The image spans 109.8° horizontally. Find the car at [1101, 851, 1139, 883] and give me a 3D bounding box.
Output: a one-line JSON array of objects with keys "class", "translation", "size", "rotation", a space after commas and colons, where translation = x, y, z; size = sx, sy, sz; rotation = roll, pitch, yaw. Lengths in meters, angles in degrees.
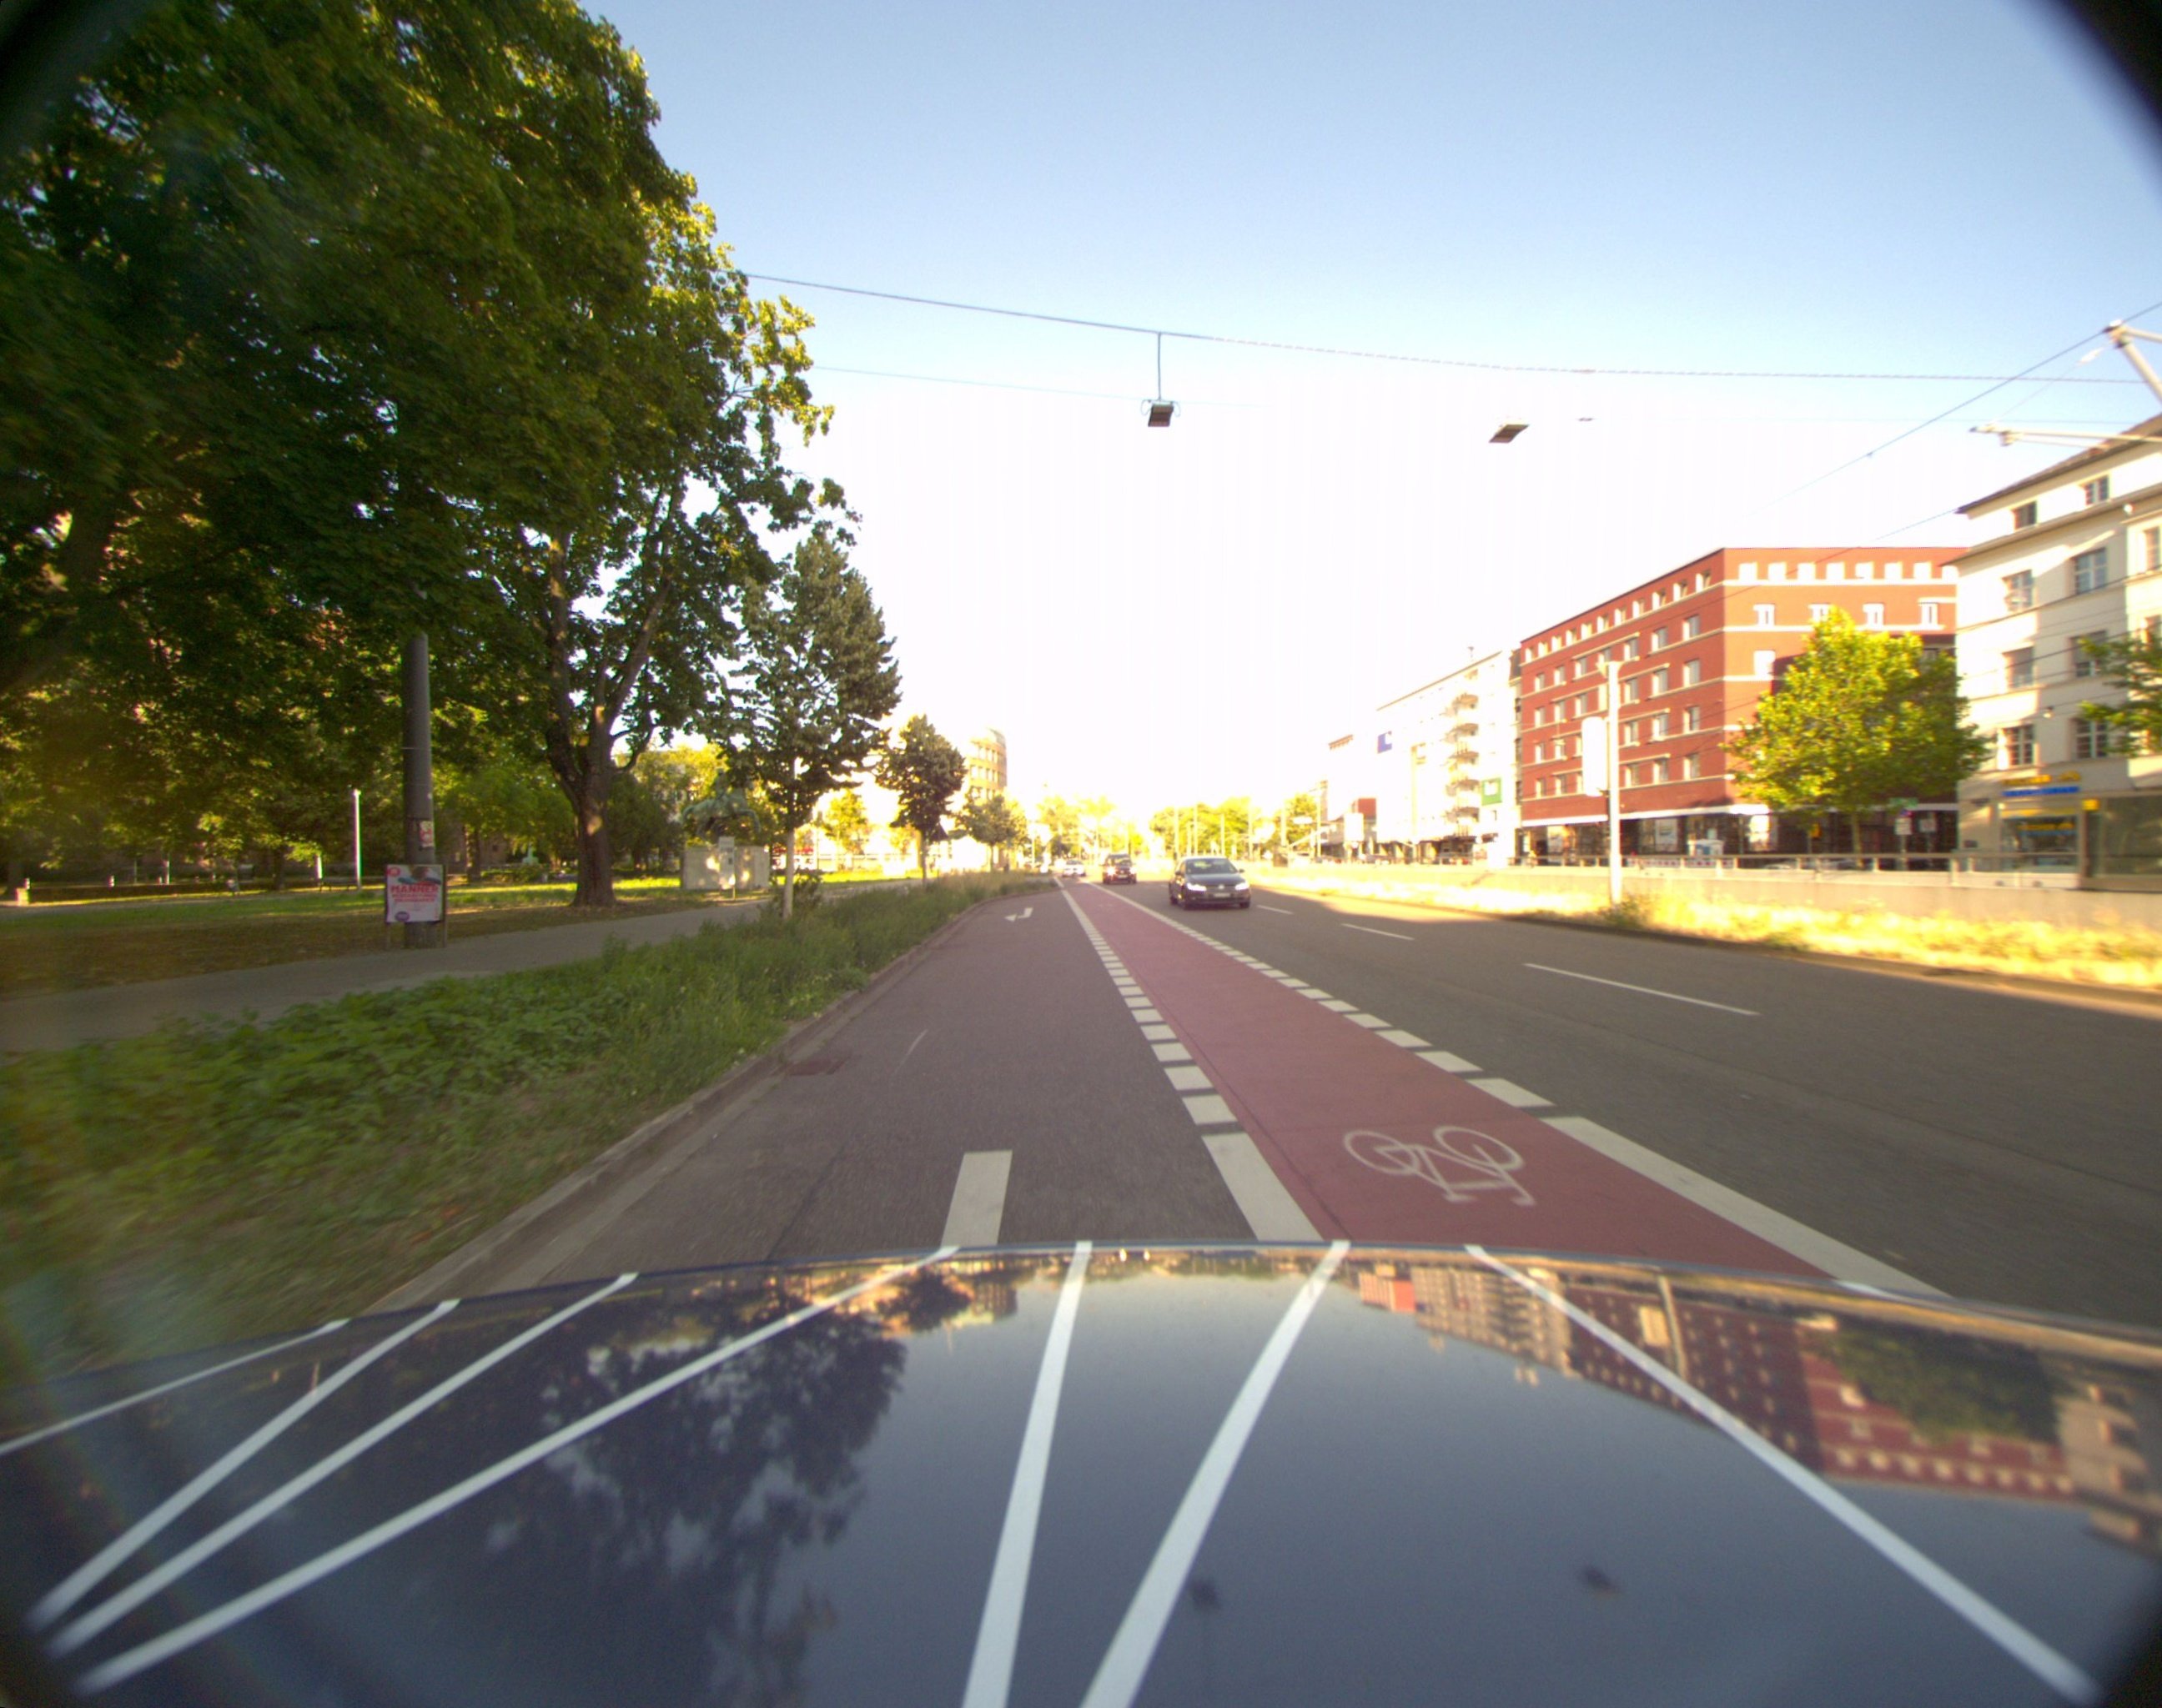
[{"class": "car", "translation": [2.210, 0.725, 43.811], "size": [1.770, 1.722, 4.146], "rotation": [-1, 0, -3]}]

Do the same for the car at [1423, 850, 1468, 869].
[{"class": "car", "translation": [35.492, 0.537, 74.105], "size": [1.999, 1.786, 4.742], "rotation": [-1, 0, -1]}]

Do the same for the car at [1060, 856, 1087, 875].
[{"class": "car", "translation": [-0.676, 0.965, 65.540], "size": [1.834, 1.528, 4.276], "rotation": [-3, 0, -7]}]

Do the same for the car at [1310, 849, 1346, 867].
[{"class": "car", "translation": [25.047, 0.404, 77.230], "size": [1.999, 1.786, 4.894], "rotation": [-1, 0, 0]}]

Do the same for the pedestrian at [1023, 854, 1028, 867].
[{"class": "pedestrian", "translation": [-7.362, 0.857, 100.680], "size": [0.651, 1.714, 0.715], "rotation": [-1, 0, 0]}]

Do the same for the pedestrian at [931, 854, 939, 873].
[{"class": "pedestrian", "translation": [-13.277, 0.889, 69.146], "size": [0.599, 1.679, 0.782], "rotation": [1, 0, 2]}]

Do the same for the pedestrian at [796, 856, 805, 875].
[{"class": "pedestrian", "translation": [-26.626, 1.081, 72.171], "size": [0.644, 1.729, 0.595], "rotation": [-1, 0, -35]}]

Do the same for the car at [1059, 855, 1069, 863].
[{"class": "car", "translation": [-3.166, 0.923, 140.746], "size": [1.770, 1.464, 4.013], "rotation": [-3, 0, -3]}]

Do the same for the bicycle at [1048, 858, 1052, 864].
[{"class": "bicycle", "translation": [-5.698, 1.254, 137.825], "size": [0.608, 0.923, 1.777], "rotation": [-1, 0, 1]}]

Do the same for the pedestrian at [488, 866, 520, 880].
[{"class": "pedestrian", "translation": [-43.808, 1.454, 57.696], "size": [1.381, 0.988, 1.285], "rotation": [-1, 0, 9]}]

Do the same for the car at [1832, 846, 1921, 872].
[{"class": "car", "translation": [47.086, 0.319, 45.033], "size": [3.583, 1.486, 1.642], "rotation": [-1, 0, -1]}]

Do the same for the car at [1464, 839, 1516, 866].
[{"class": "car", "translation": [32.963, -0.120, 61.380], "size": [1.957, 2.121, 4.574], "rotation": [-1, 0, 4]}]

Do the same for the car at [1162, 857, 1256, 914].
[{"class": "car", "translation": [3.563, 0.832, 21.892], "size": [1.770, 1.418, 4.244], "rotation": [-2, 0, -2]}]

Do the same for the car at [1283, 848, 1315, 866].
[{"class": "car", "translation": [24.703, 0.350, 86.237], "size": [1.999, 2.002, 4.773], "rotation": [-1, 0, -3]}]

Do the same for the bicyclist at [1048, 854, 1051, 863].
[{"class": "bicyclist", "translation": [-5.709, 0.793, 137.773], "size": [0.552, 1.600, 0.832], "rotation": [-1, 0, 1]}]

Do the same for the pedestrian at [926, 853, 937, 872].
[{"class": "pedestrian", "translation": [-13.399, 0.748, 68.058], "size": [0.740, 1.640, 0.916], "rotation": [2, 0, 2]}]

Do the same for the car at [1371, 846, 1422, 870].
[{"class": "car", "translation": [25.130, 0.304, 60.684], "size": [1.998, 1.808, 4.979], "rotation": [-1, 0, 0]}]
